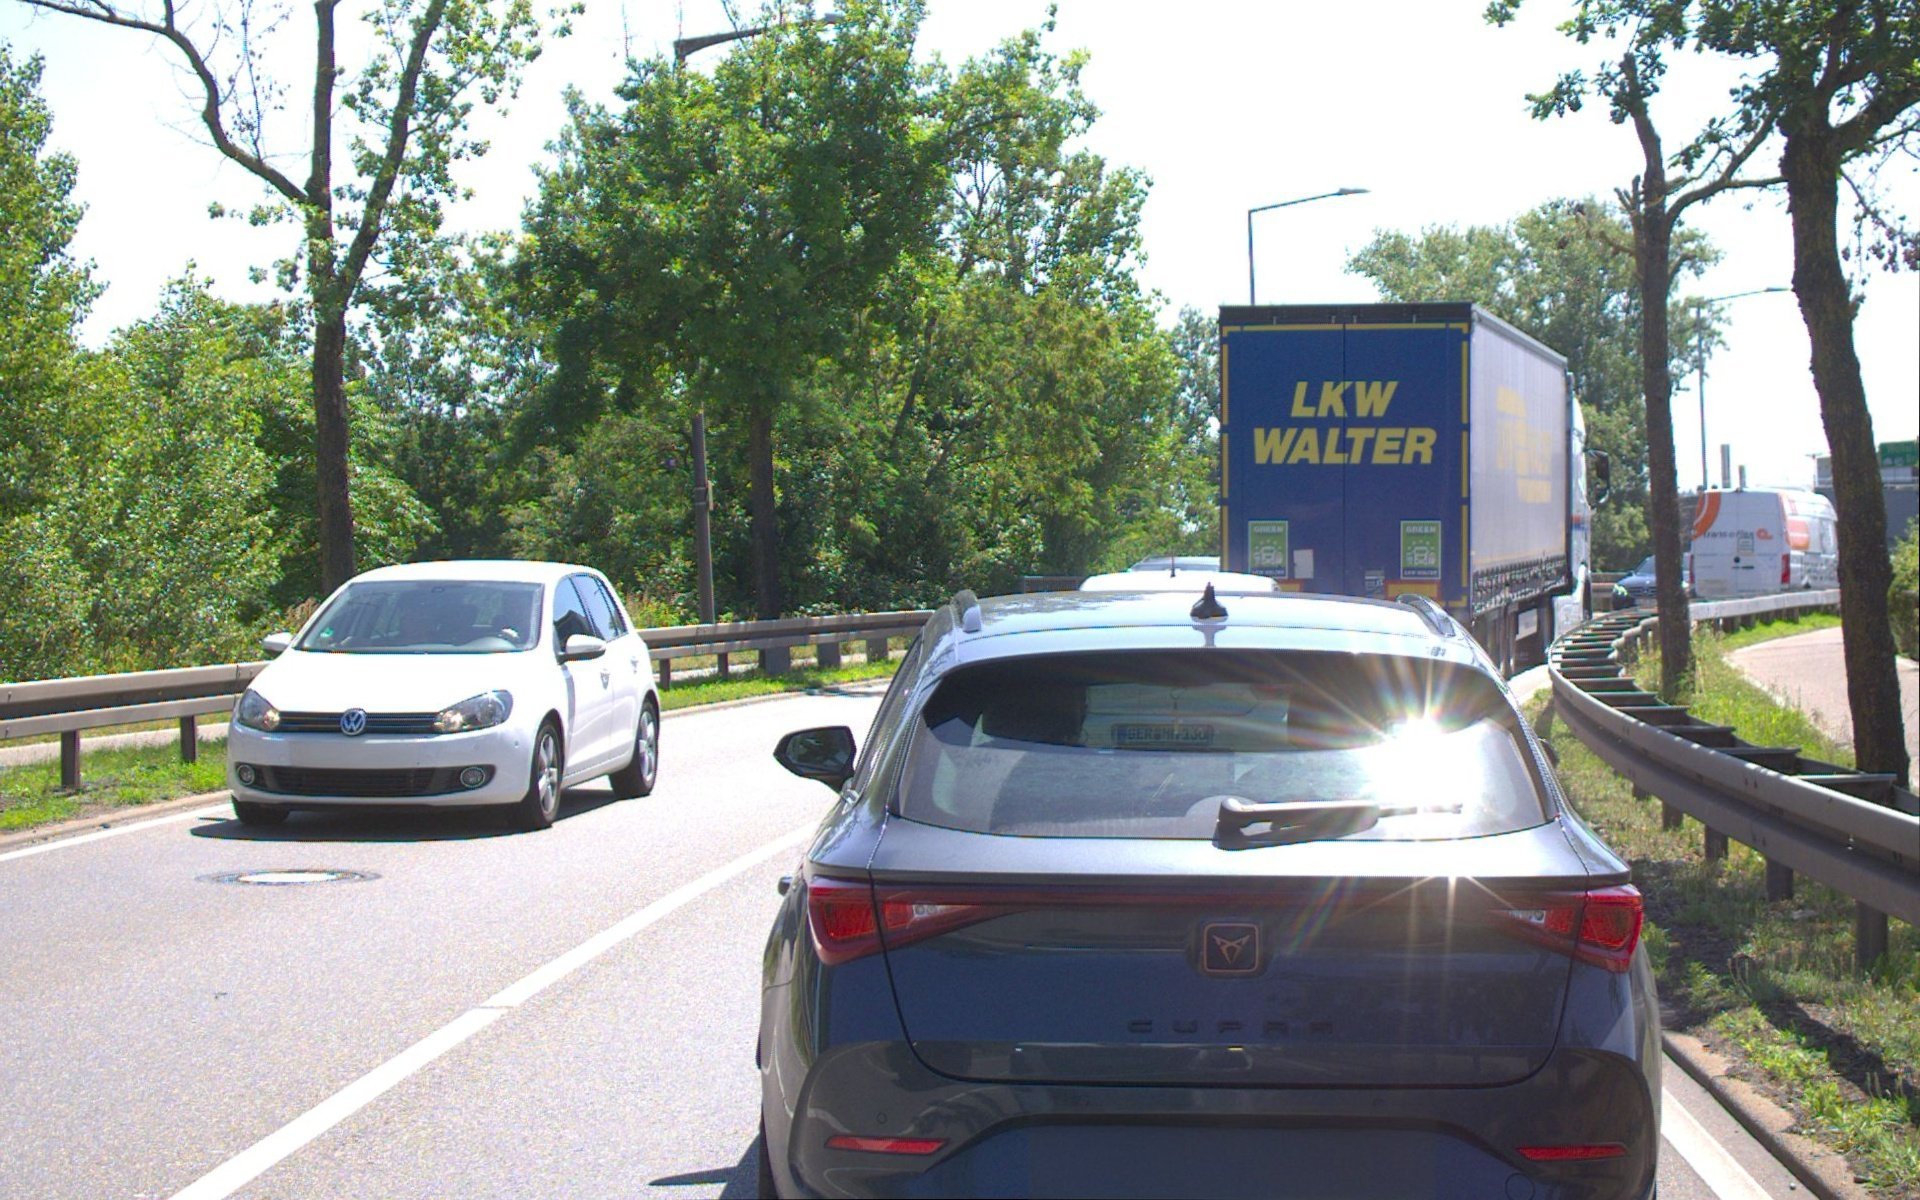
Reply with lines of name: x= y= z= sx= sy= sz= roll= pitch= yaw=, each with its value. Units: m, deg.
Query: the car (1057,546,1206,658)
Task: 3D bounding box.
car: x=2.372 y=-0.014 z=46.633 sx=1.744 sy=1.442 sz=4.516 roll=0 pitch=1 yaw=6

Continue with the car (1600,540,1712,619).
car: x=15.492 y=-0.479 z=76.419 sx=1.749 sy=1.722 sz=3.724 roll=0 pitch=1 yaw=23

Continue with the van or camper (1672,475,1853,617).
van or camper: x=15.985 y=-1.072 z=68.233 sx=2.206 sy=2.702 sz=5.917 roll=0 pitch=1 yaw=26

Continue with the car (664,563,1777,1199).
car: x=0.412 y=0.678 z=7.585 sx=1.845 sy=1.493 sz=3.758 roll=0 pitch=1 yaw=-1

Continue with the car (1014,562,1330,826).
car: x=1.393 y=0.514 z=21.401 sx=1.593 sy=1.456 sz=3.543 roll=1 pitch=1 yaw=9

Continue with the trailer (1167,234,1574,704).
trailer: x=5.162 y=-1.390 z=40.299 sx=3.136 sy=4.598 sz=12.940 roll=1 pitch=1 yaw=14

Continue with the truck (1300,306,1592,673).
truck: x=6.747 y=-1.419 z=46.754 sx=3.172 sy=4.569 sz=7.392 roll=1 pitch=0 yaw=14

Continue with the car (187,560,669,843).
car: x=-2.977 y=0.506 z=20.077 sx=1.725 sy=1.434 sz=4.022 roll=1 pitch=1 yaw=7
